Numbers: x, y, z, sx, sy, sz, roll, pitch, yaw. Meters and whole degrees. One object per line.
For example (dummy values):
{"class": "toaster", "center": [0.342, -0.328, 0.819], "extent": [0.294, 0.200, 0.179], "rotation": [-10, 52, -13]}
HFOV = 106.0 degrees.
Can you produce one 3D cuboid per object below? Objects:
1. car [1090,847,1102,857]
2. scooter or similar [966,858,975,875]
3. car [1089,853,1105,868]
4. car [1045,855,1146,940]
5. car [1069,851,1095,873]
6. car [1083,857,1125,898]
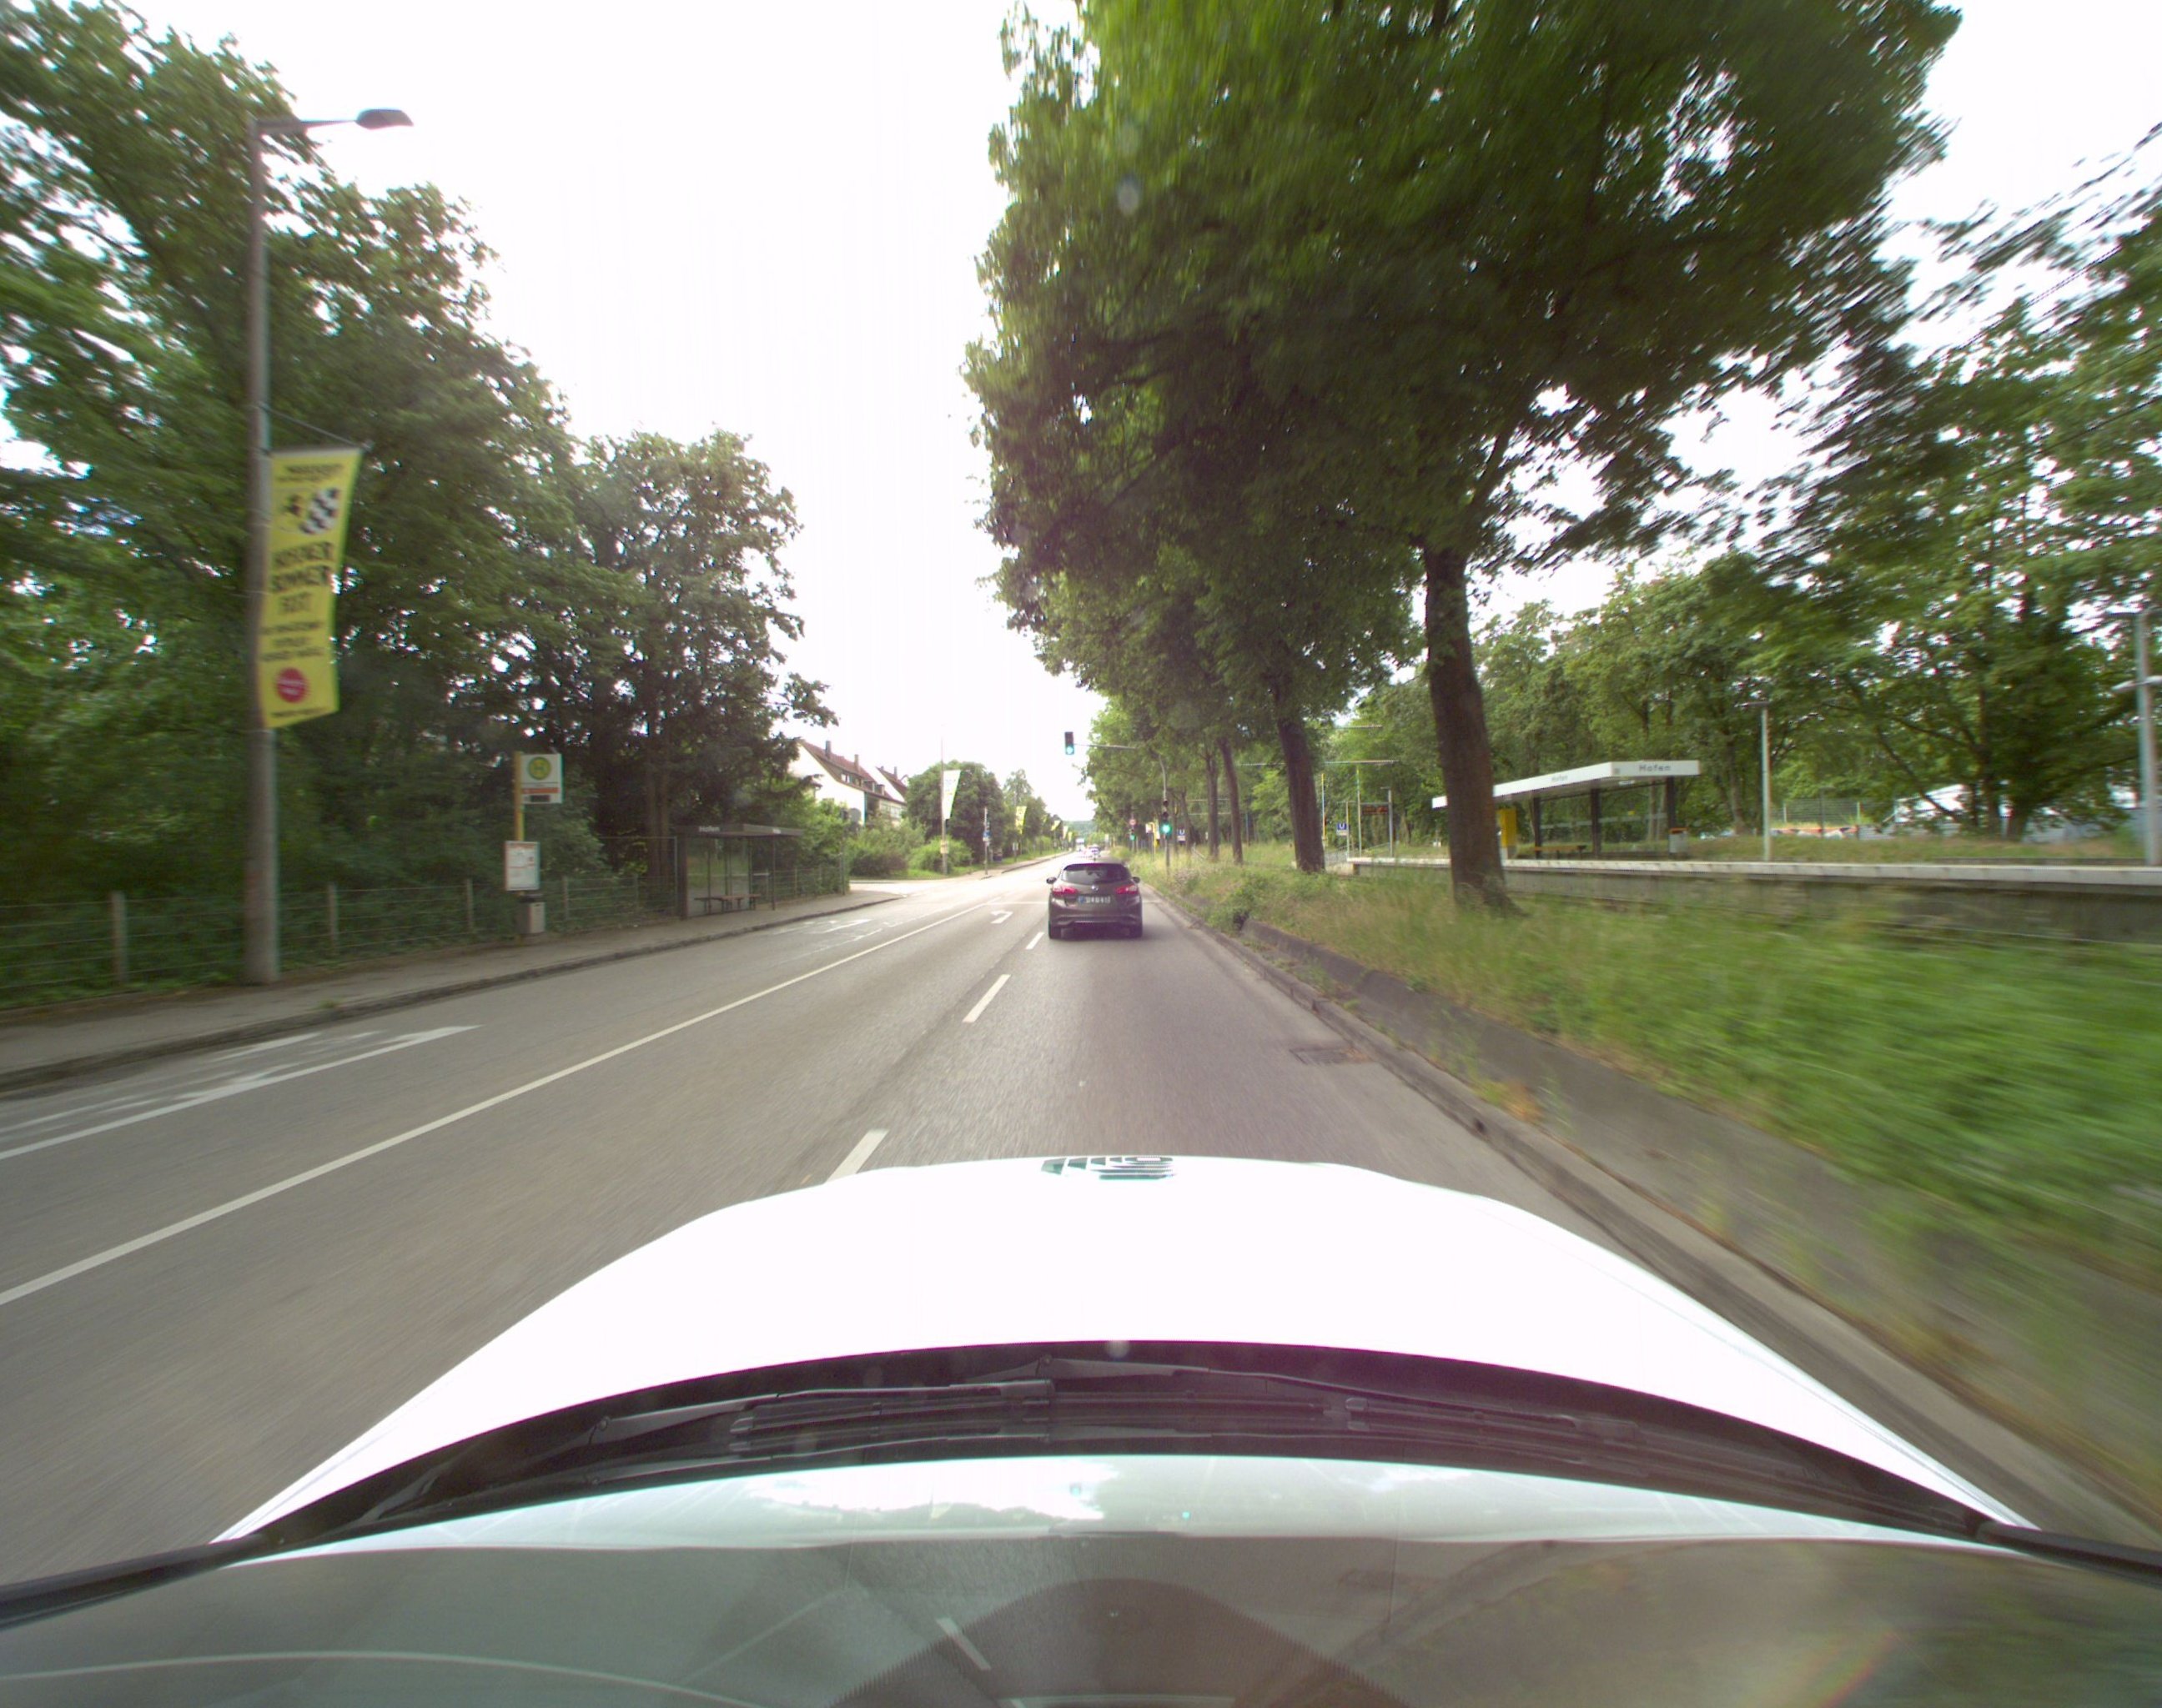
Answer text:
{"class": "car", "center": [2.229, -0.246, 118.703], "extent": [1.685, 1.441, 3.542], "rotation": [-1, 0, 1]}
{"class": "scooter or similar", "center": [-8.669, 0.985, 64.102], "extent": [0.460, 1.259, 1.427], "rotation": [-1, 0, 2]}
{"class": "car", "center": [1.651, 0.650, 83.994], "extent": [1.685, 1.441, 3.542], "rotation": [-1, 0, 1]}
{"class": "car", "center": [0.315, 0.787, 16.453], "extent": [1.777, 1.507, 3.697], "rotation": [-1, 0, 2]}
{"class": "car", "center": [0.099, 0.529, 55.406], "extent": [1.685, 1.441, 3.542], "rotation": [-1, 0, 1]}
{"class": "car", "center": [0.863, 0.847, 31.185], "extent": [1.496, 1.441, 3.542], "rotation": [-1, 0, 1]}
